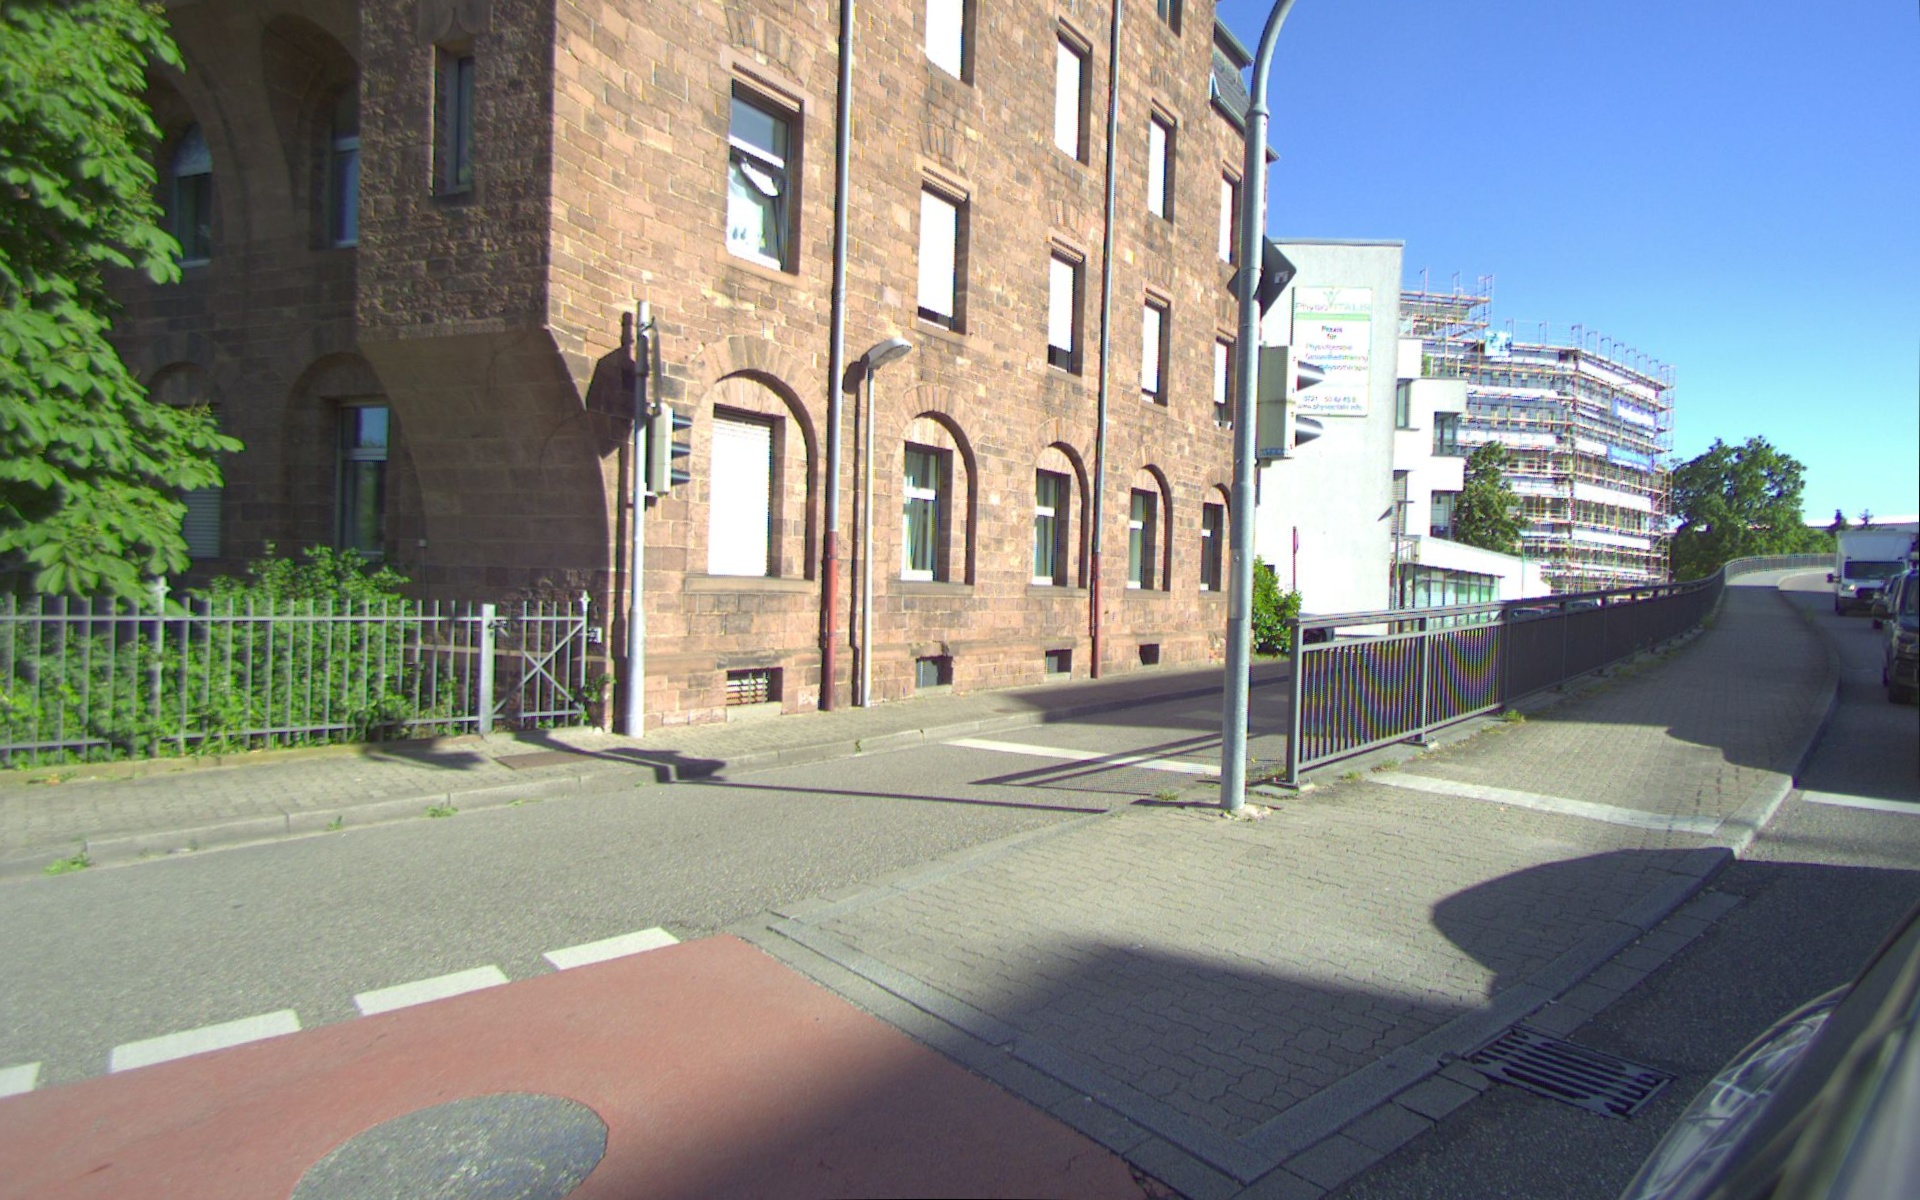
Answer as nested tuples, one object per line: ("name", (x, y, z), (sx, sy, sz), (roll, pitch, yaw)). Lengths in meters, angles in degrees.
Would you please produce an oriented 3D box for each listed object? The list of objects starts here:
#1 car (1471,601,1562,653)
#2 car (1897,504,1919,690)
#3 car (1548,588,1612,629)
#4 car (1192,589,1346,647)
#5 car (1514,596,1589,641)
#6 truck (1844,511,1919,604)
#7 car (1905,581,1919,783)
("car", (18.592, 0.869, 33.722), (2.043, 1.551, 4.036), (2, 0, 38))
("car", (14.048, 0.018, 13.684), (1.945, 2.290, 4.710), (2, 1, 43))
("car", (27.618, 0.381, 45.049), (2.043, 1.707, 4.037), (2, 0, 37))
("car", (9.122, 0.515, 30.192), (4.020, 1.551, 1.917), (2, 0, 5))
("car", (22.842, 0.692, 39.019), (2.043, 1.551, 4.037), (2, 0, 37))
("truck", (35.196, -1.493, 38.318), (2.495, 3.167, 6.855), (2, 1, 41))
("car", (9.294, 0.626, 8.504), (1.875, 1.489, 4.562), (3, 2, 44))
